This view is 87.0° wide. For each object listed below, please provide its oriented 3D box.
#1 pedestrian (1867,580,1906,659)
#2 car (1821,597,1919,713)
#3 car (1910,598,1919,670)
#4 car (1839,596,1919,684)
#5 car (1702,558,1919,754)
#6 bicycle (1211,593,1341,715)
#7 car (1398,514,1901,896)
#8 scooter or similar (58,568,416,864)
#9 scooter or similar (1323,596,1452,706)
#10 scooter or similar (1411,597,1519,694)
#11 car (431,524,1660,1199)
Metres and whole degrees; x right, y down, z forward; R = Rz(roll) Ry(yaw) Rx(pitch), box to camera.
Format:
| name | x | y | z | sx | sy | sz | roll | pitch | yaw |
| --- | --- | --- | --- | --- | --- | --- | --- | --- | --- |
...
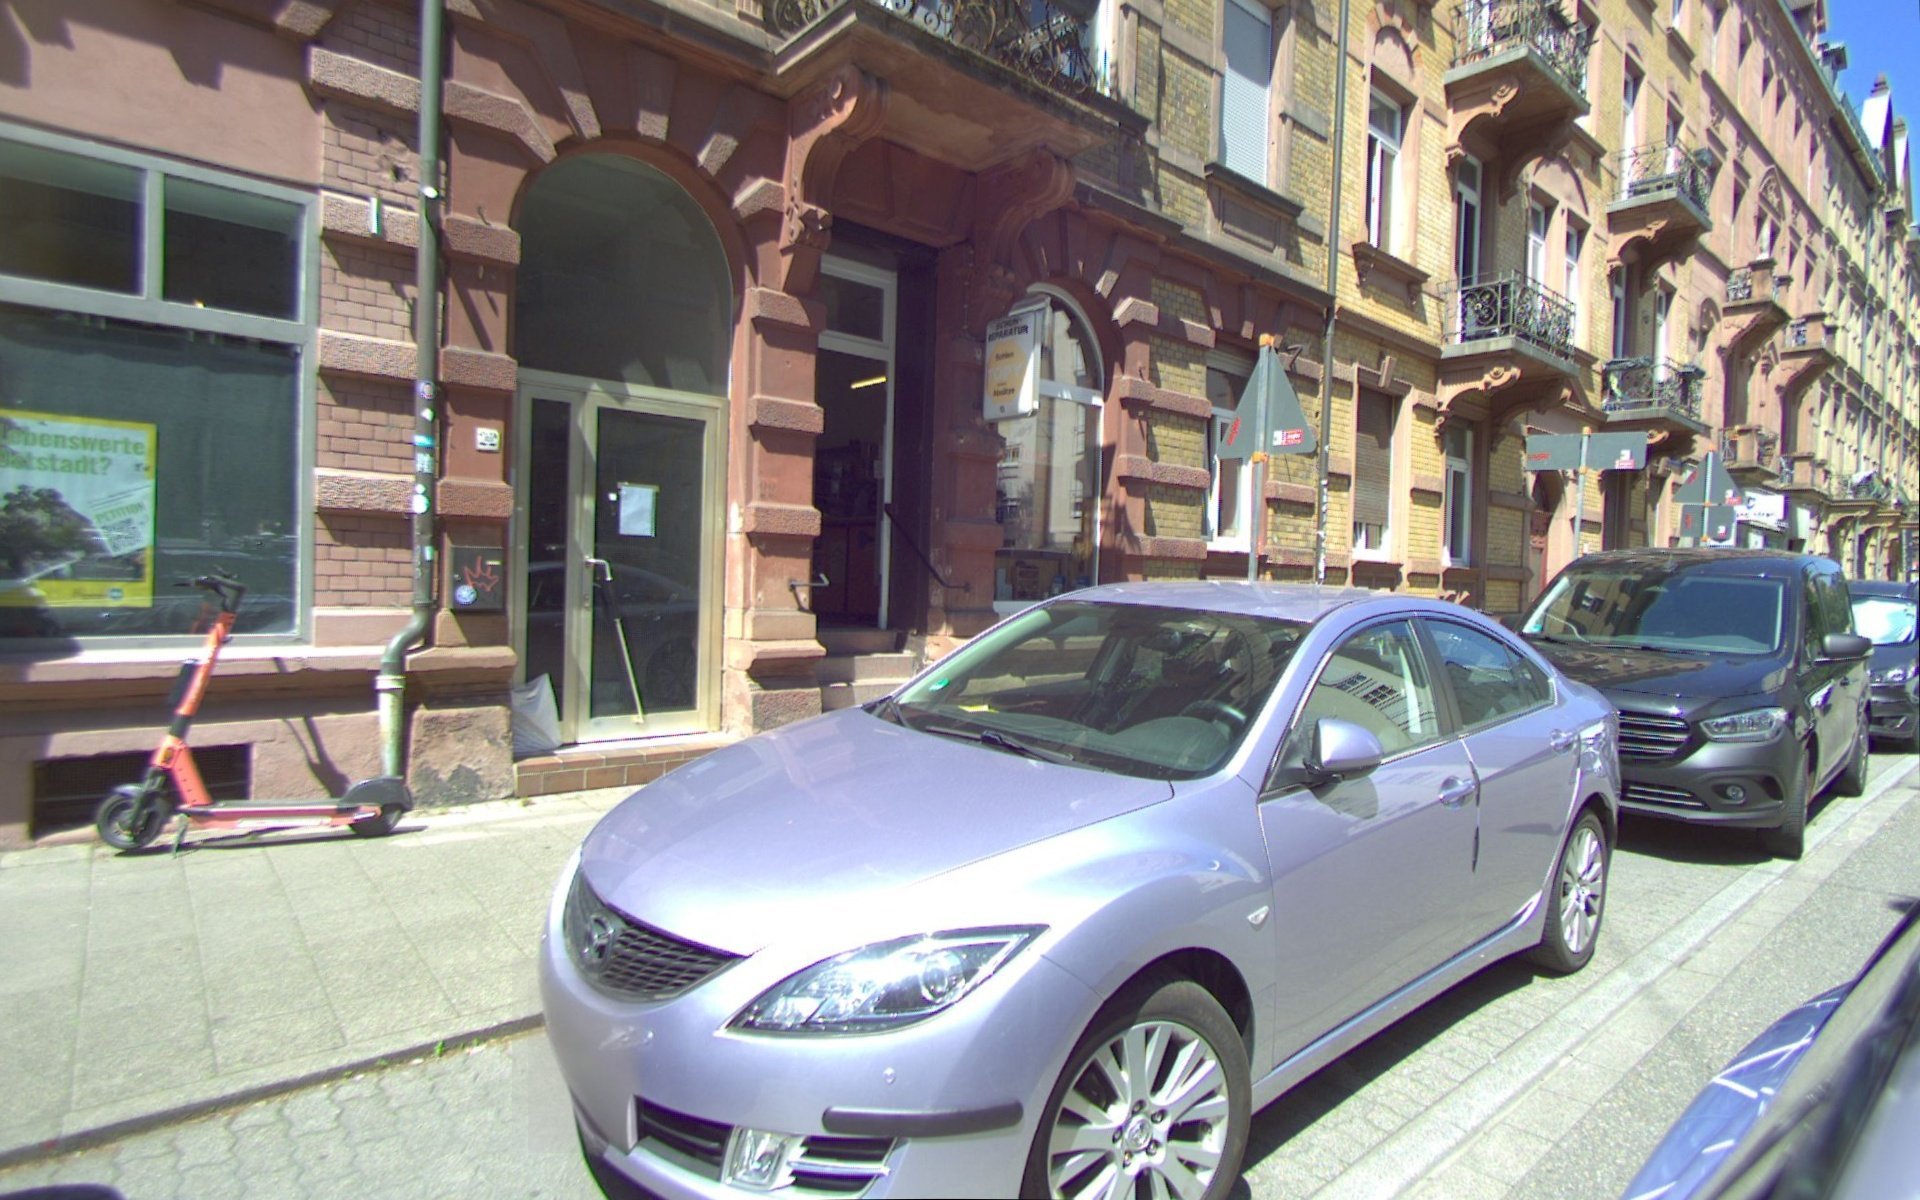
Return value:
| name | x | y | z | sx | sy | sz | roll | pitch | yaw |
| --- | --- | --- | --- | --- | --- | --- | --- | --- | --- |
| pedestrian | 23.227 | 0.481 | 25.366 | 0.363 | 1.938 | 0.634 | 1 | 1 | -40 |
| car | 13.565 | 0.709 | 14.436 | 1.761 | 1.468 | 3.844 | 1 | 1 | 43 |
| car | 21.531 | 0.710 | 21.629 | 3.628 | 1.480 | 1.600 | 0 | 1 | -44 |
| car | 17.801 | 0.695 | 18.808 | 3.933 | 1.479 | 1.827 | 0 | 1 | -43 |
| car | 9.574 | 0.485 | 10.905 | 3.930 | 1.755 | 1.705 | 0 | 1 | -41 |
| bicycle | 3.168 | 0.501 | 10.061 | 1.725 | 1.117 | 0.354 | 1 | 1 | -41 |
| car | 4.849 | 0.446 | 6.850 | 4.264 | 1.788 | 1.828 | 0 | 3 | -43 |
| scooter or similar | -3.149 | 0.469 | 4.509 | 1.246 | 1.192 | 0.294 | 1 | 1 | -31 |
| scooter or similar | 4.966 | 0.552 | 11.675 | 2.111 | 1.167 | 0.477 | 1 | 1 | -41 |
| scooter or similar | 6.571 | 0.554 | 13.110 | 2.075 | 1.167 | 0.477 | 1 | 1 | -41 |
| car | 0.803 | 0.573 | 3.540 | 4.409 | 1.449 | 1.728 | 0 | 3 | -43 |
